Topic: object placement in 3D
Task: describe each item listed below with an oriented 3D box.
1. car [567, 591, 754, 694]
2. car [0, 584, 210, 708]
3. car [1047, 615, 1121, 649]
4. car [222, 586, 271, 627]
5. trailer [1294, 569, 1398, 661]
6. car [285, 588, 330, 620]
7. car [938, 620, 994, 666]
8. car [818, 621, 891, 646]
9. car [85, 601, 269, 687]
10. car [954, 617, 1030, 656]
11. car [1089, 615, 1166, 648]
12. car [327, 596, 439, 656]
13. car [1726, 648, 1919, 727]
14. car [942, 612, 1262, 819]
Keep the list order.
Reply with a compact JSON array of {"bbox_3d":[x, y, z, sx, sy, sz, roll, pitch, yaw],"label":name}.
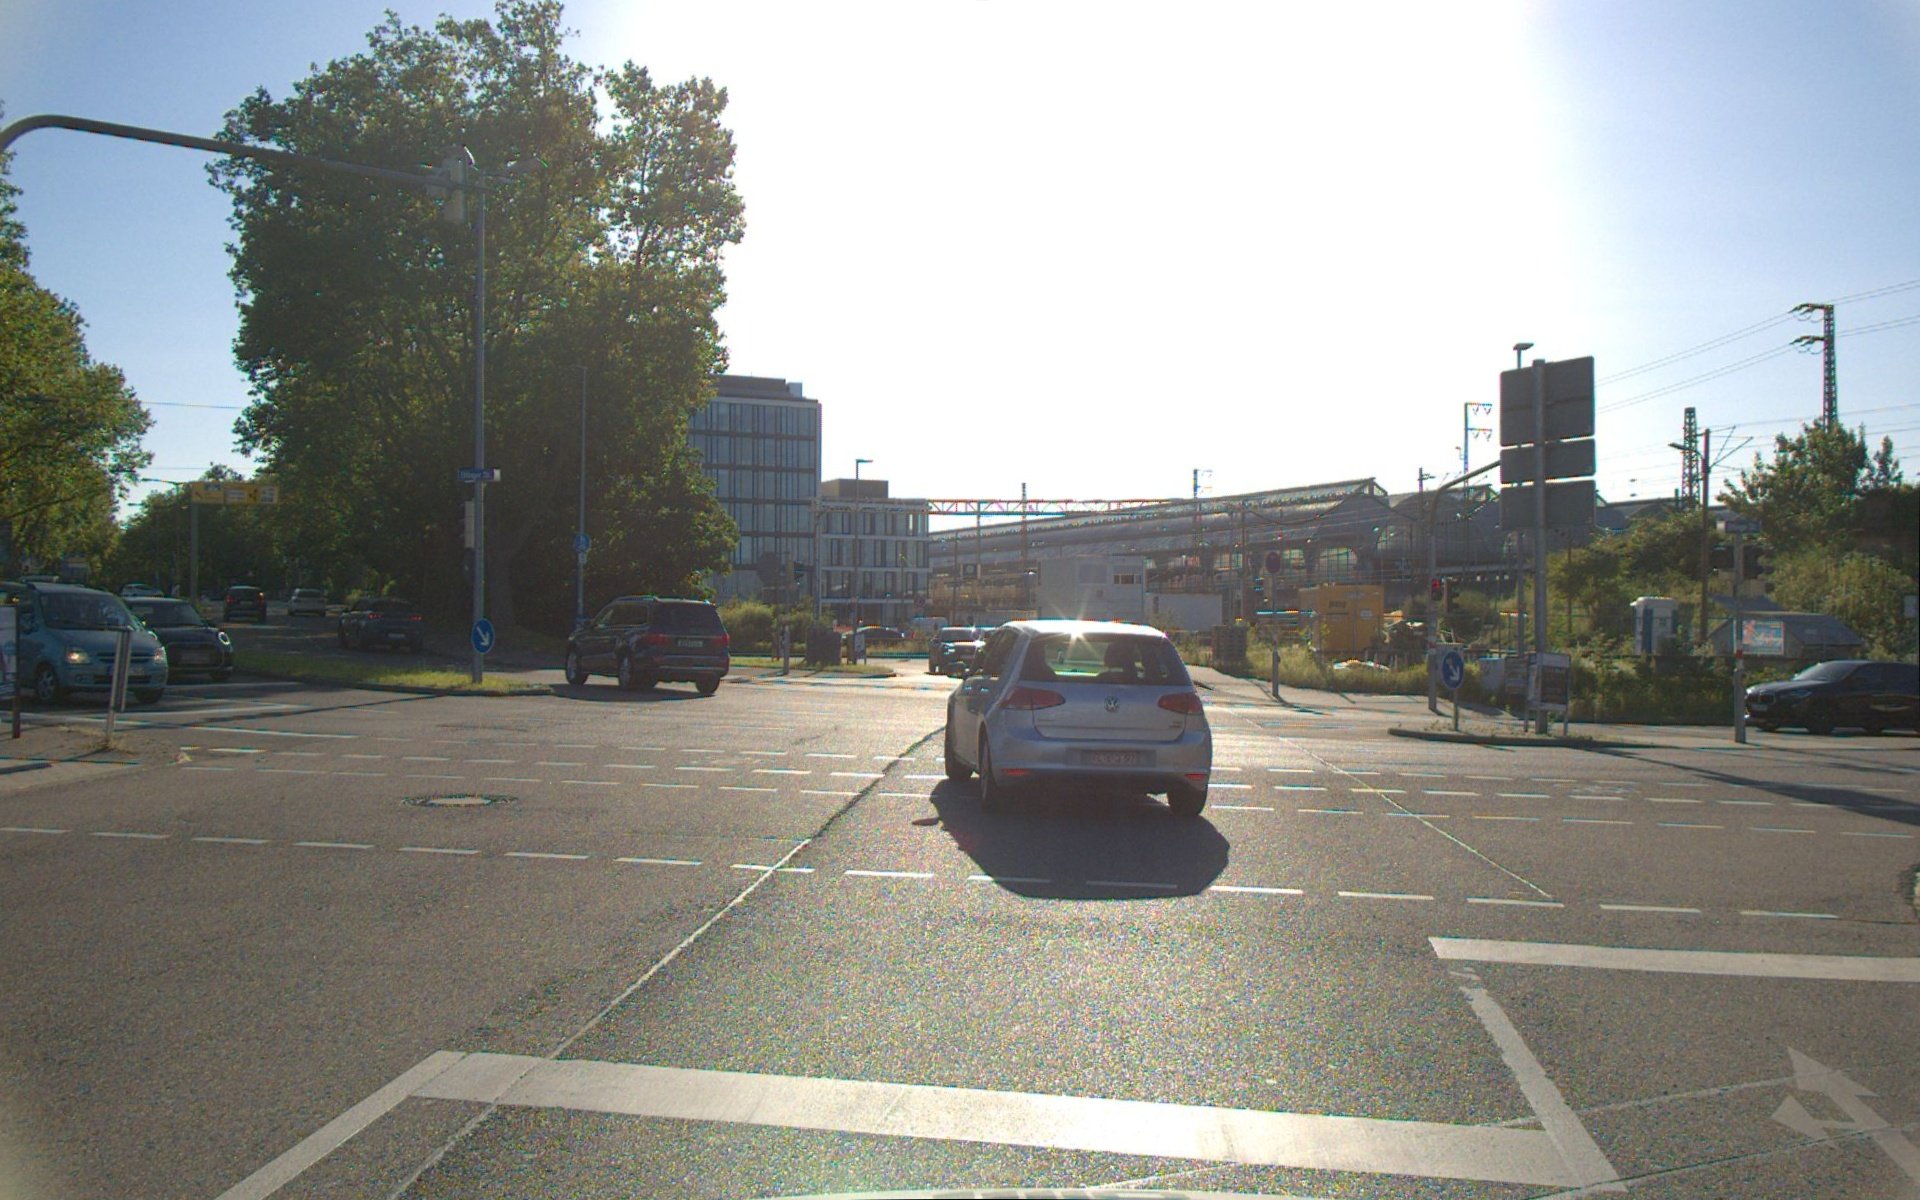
[{"bbox_3d":[-6.123,0.814,33.371,2.093,1.920,4.758,1,-1,-32],"label":"car"},{"bbox_3d":[-13.009,0.622,24.123,4.036,1.664,1.915,1,-1,34],"label":"car"},{"bbox_3d":[7.142,1.844,95.608,3.923,1.819,1.647,2,-1,-17],"label":"car"},{"bbox_3d":[-32.269,0.284,74.913,1.827,1.774,4.239,1,0,-21],"label":"car"},{"bbox_3d":[15.046,0.627,64.926,2.933,3.350,6.670,1,-1,4],"label":"trailer"},{"bbox_3d":[-35.315,0.235,89.426,1.832,1.679,4.228,1,0,-27],"label":"car"},{"bbox_3d":[0.174,1.470,57.457,1.713,1.502,3.998,1,0,-3],"label":"car"},{"bbox_3d":[-8.488,2.711,133.702,5.646,1.877,1.897,1,-1,-31],"label":"car"},{"bbox_3d":[-14.489,0.776,30.510,1.895,1.452,3.872,2,-1,-45],"label":"car"},{"bbox_3d":[1.234,1.445,66.236,1.722,1.502,3.976,1,0,-20],"label":"car"},{"bbox_3d":[9.326,1.752,92.228,3.923,1.735,1.608,2,-1,-17],"label":"car"},{"bbox_3d":[-17.748,0.768,50.800,1.930,1.743,4.140,1,-1,-40],"label":"car"},{"bbox_3d":[18.614,1.832,34.787,4.297,1.544,1.950,1,-2,-13],"label":"car"},{"bbox_3d":[1.003,0.841,13.723,1.932,1.452,3.931,1,0,-6],"label":"car"}]
